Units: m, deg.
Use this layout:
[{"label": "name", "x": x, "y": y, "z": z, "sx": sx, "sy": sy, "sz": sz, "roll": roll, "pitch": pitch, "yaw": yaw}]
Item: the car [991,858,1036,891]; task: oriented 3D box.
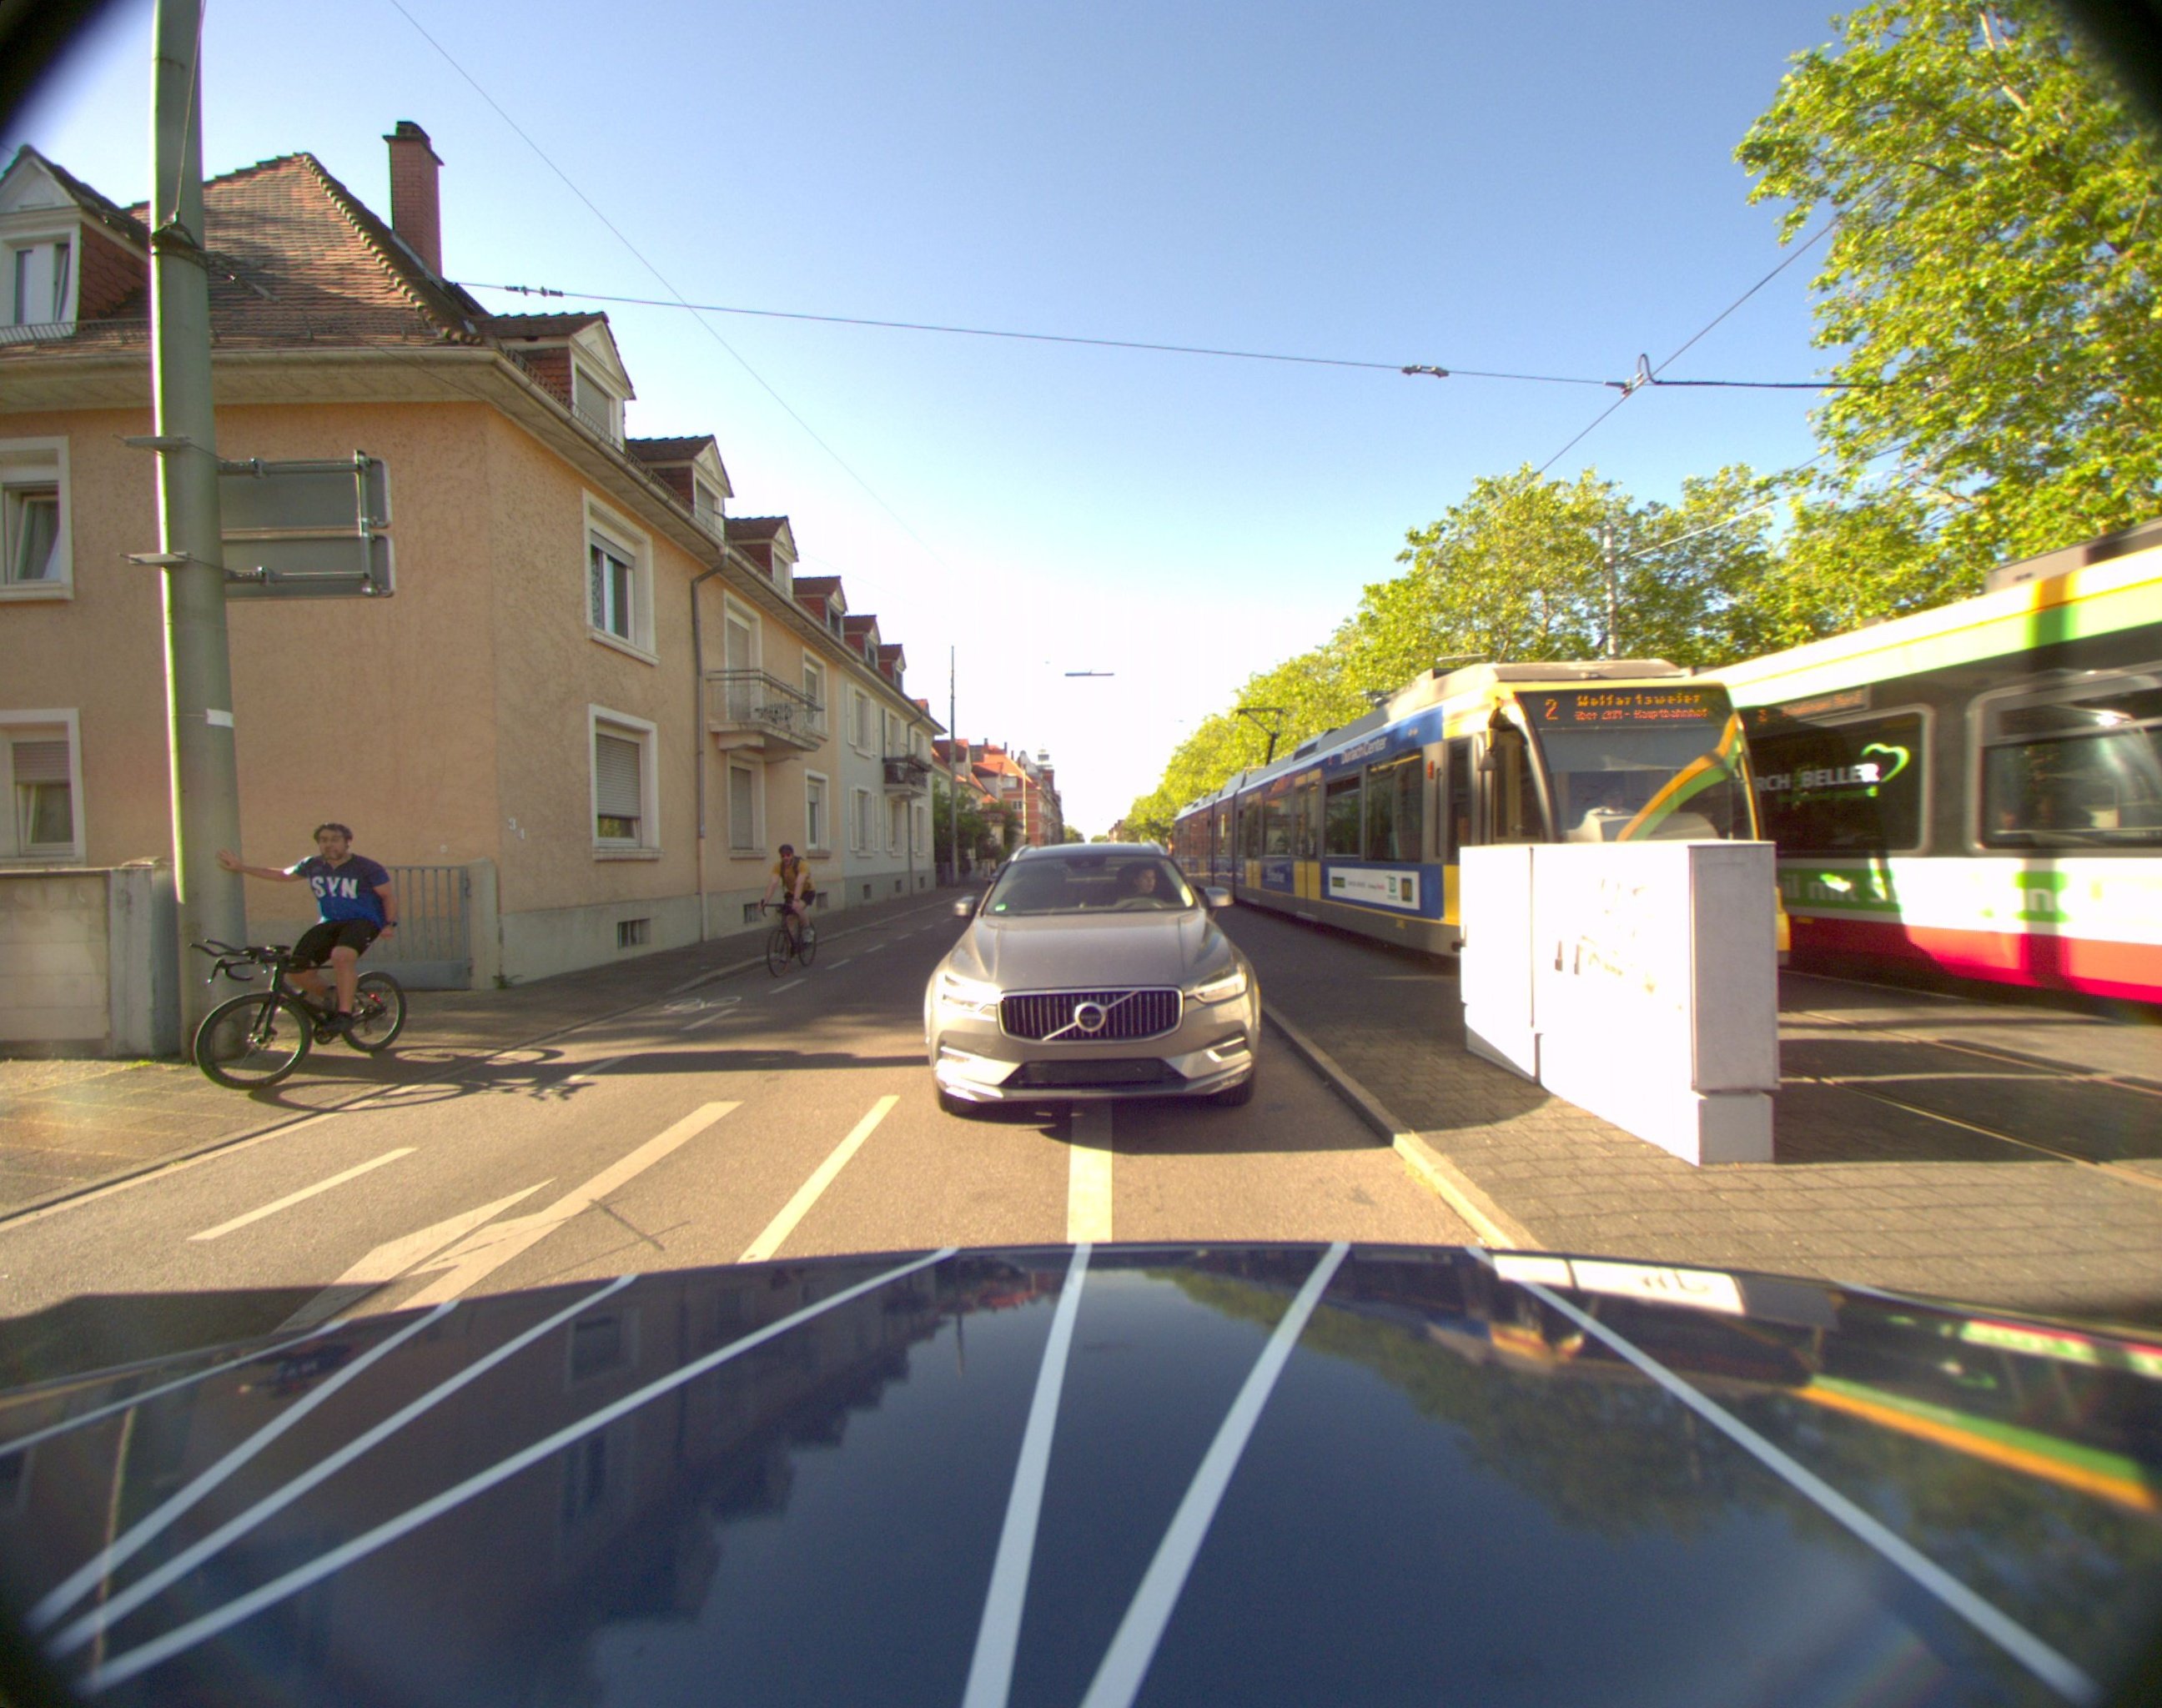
[{"label": "car", "x": -3.233, "y": 0.951, "z": 36.975, "sx": 1.847, "sy": 1.412, "sz": 3.999, "roll": -1, "pitch": 0, "yaw": -1}]

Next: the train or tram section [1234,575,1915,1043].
[{"label": "train or tram section", "x": 4.952, "y": -0.337, "z": 11.759, "sx": 2.777, "sy": 3.479, "sz": 12.029, "roll": -1, "pitch": 0, "yaw": 1}]

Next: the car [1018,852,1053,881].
[{"label": "car", "x": -2.760, "y": 0.748, "z": 46.859, "sx": 1.847, "sy": 1.681, "sz": 4.000, "roll": -1, "pitch": 0, "yaw": 0}]

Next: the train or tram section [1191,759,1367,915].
[{"label": "train or tram section", "x": 5.099, "y": -0.382, "z": 21.433, "sx": 2.821, "sy": 3.479, "sz": 8.462, "roll": -1, "pitch": 0, "yaw": 1}]

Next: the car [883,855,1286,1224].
[{"label": "car", "x": -0.002, "y": 0.891, "z": 5.786, "sx": 1.892, "sy": 1.695, "sz": 4.318, "roll": -1, "pitch": 0, "yaw": -1}]

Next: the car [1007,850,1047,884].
[{"label": "car", "x": -2.967, "y": 0.691, "z": 42.338, "sx": 1.847, "sy": 1.742, "sz": 4.144, "roll": -1, "pitch": 0, "yaw": 0}]

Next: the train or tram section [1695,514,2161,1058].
[{"label": "train or tram section", "x": 8.351, "y": -0.456, "z": 3.285, "sx": 2.862, "sy": 3.456, "sz": 10.179, "roll": -2, "pitch": 1, "yaw": -2}]

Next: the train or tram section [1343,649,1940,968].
[{"label": "train or tram section", "x": 8.047, "y": -0.559, "z": 13.569, "sx": 2.844, "sy": 3.456, "sz": 10.179, "roll": -2, "pitch": 1, "yaw": -2}]

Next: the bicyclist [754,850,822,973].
[{"label": "bicyclist", "x": -4.255, "y": 0.801, "z": 11.091, "sx": 0.582, "sy": 1.712, "sz": 0.955, "roll": -1, "pitch": 1, "yaw": 1}]

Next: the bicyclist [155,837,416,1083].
[{"label": "bicyclist", "x": -6.177, "y": 0.774, "z": 5.965, "sx": 1.071, "sy": 1.728, "sz": 0.853, "roll": 4, "pitch": 1, "yaw": 1}]

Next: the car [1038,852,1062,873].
[{"label": "car", "x": -2.679, "y": 0.702, "z": 65.768, "sx": 1.847, "sy": 1.681, "sz": 4.000, "roll": -1, "pitch": 0, "yaw": 0}]

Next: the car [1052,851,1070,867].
[{"label": "car", "x": -2.248, "y": 0.559, "z": 85.483, "sx": 1.999, "sy": 1.641, "sz": 4.658, "roll": -1, "pitch": 0, "yaw": -1}]

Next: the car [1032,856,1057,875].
[{"label": "car", "x": -2.883, "y": 0.867, "z": 60.405, "sx": 1.808, "sy": 1.402, "sz": 3.999, "roll": -1, "pitch": 0, "yaw": -1}]

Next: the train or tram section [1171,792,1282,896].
[{"label": "train or tram section", "x": 5.378, "y": -0.342, "z": 29.637, "sx": 2.821, "sy": 3.479, "sz": 7.962, "roll": -1, "pitch": 0, "yaw": 1}]

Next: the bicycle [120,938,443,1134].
[{"label": "bicycle", "x": -5.935, "y": 1.281, "z": 5.813, "sx": 0.594, "sy": 1.045, "sz": 1.719, "roll": 4, "pitch": 1, "yaw": 1}]

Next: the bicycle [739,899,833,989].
[{"label": "bicycle", "x": -4.231, "y": 1.257, "z": 11.046, "sx": 0.611, "sy": 1.081, "sz": 1.809, "roll": -1, "pitch": 1, "yaw": 1}]
